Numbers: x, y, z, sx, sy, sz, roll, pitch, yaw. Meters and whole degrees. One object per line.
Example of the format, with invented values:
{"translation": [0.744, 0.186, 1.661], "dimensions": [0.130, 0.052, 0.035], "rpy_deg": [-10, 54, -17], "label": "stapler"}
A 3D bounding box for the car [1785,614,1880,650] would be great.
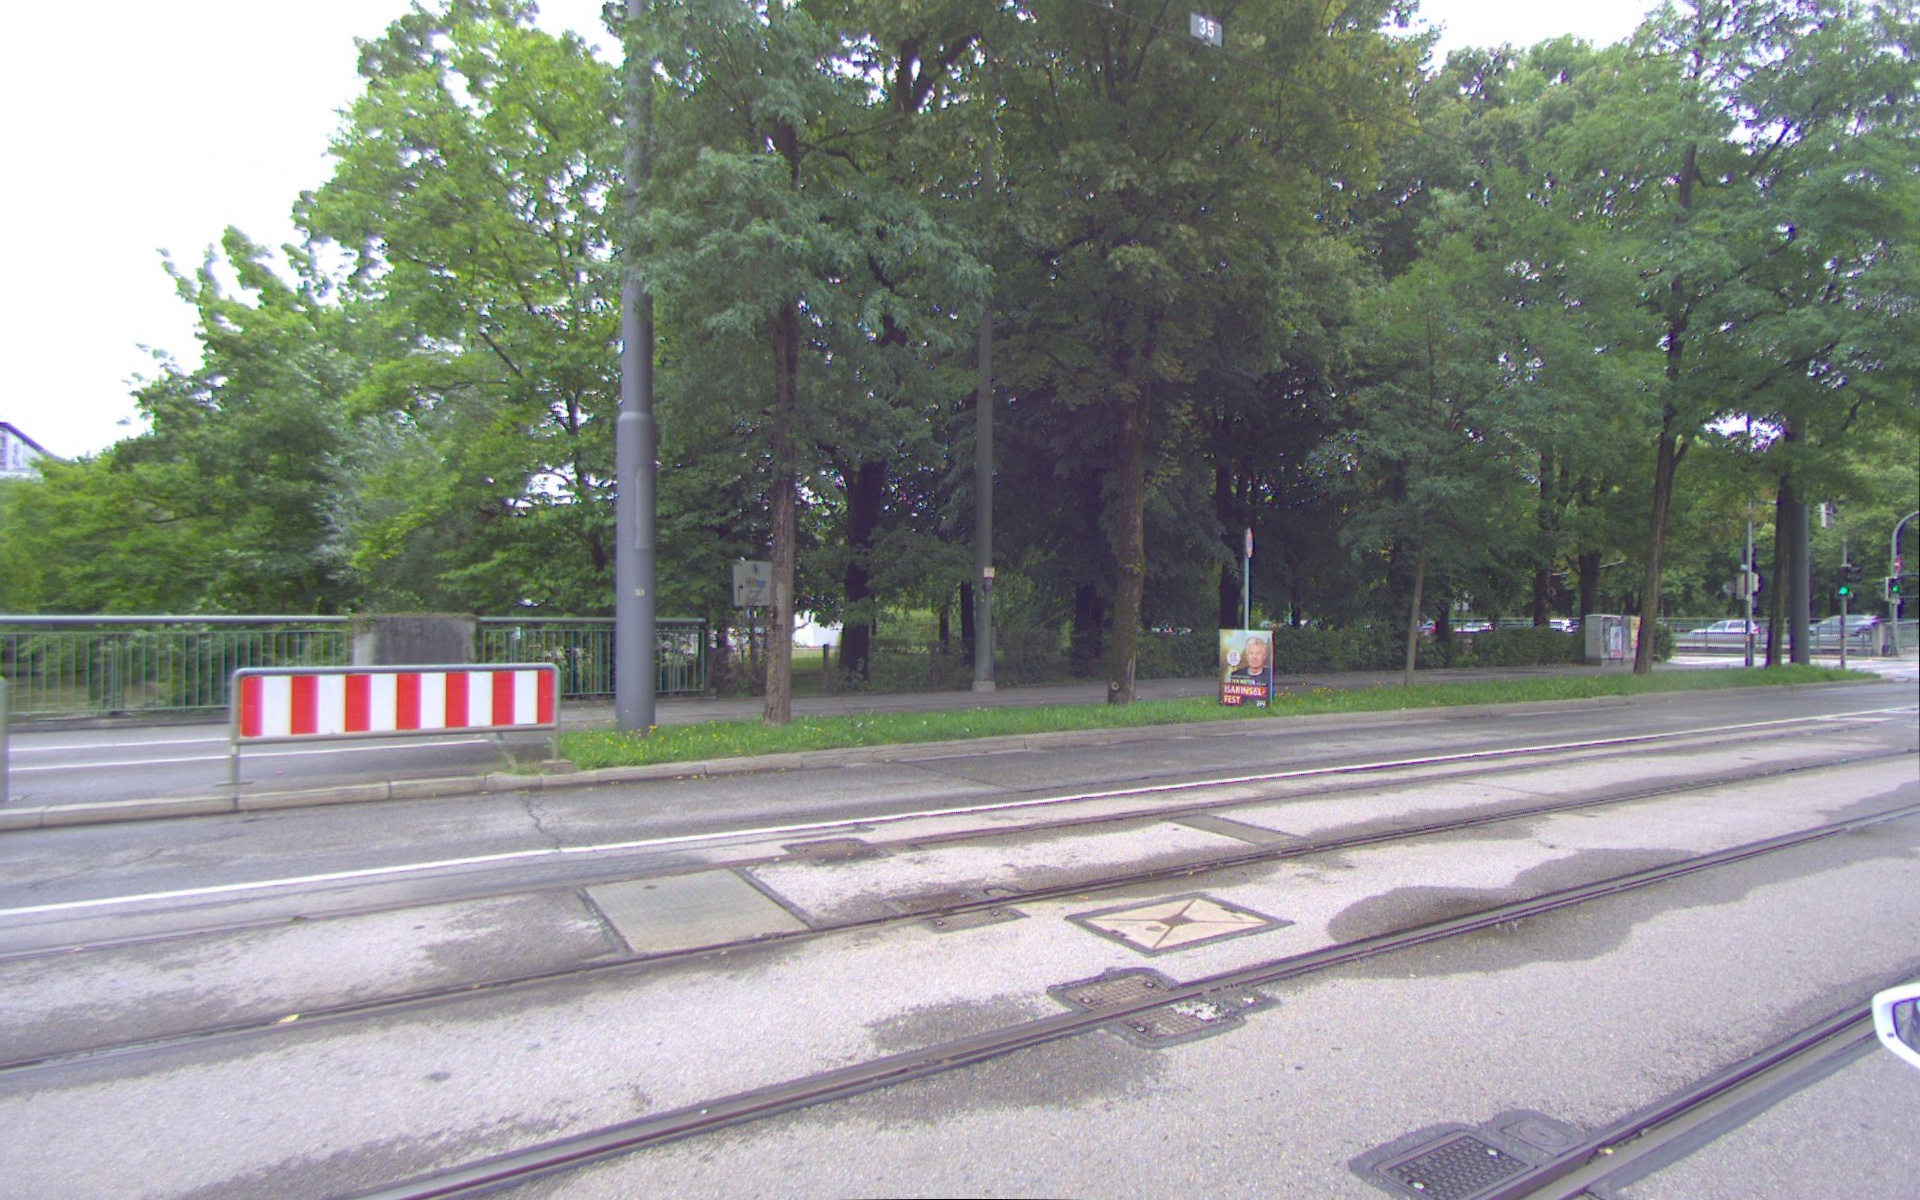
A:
{"translation": [51.525, 1.878, 59.380], "dimensions": [1.476, 1.912, 3.994], "rpy_deg": [1, 1, -36], "label": "car"}

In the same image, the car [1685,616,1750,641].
{"translation": [48.257, 1.789, 64.012], "dimensions": [1.238, 1.471, 3.090], "rpy_deg": [1, 1, -34], "label": "car"}

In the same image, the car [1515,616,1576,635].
{"translation": [42.527, 1.865, 73.022], "dimensions": [1.238, 1.201, 3.704], "rpy_deg": [1, 1, -34], "label": "car"}

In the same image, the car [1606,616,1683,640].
{"translation": [46.002, 1.846, 67.574], "dimensions": [1.703, 1.423, 3.900], "rpy_deg": [1, 0, -34], "label": "car"}
